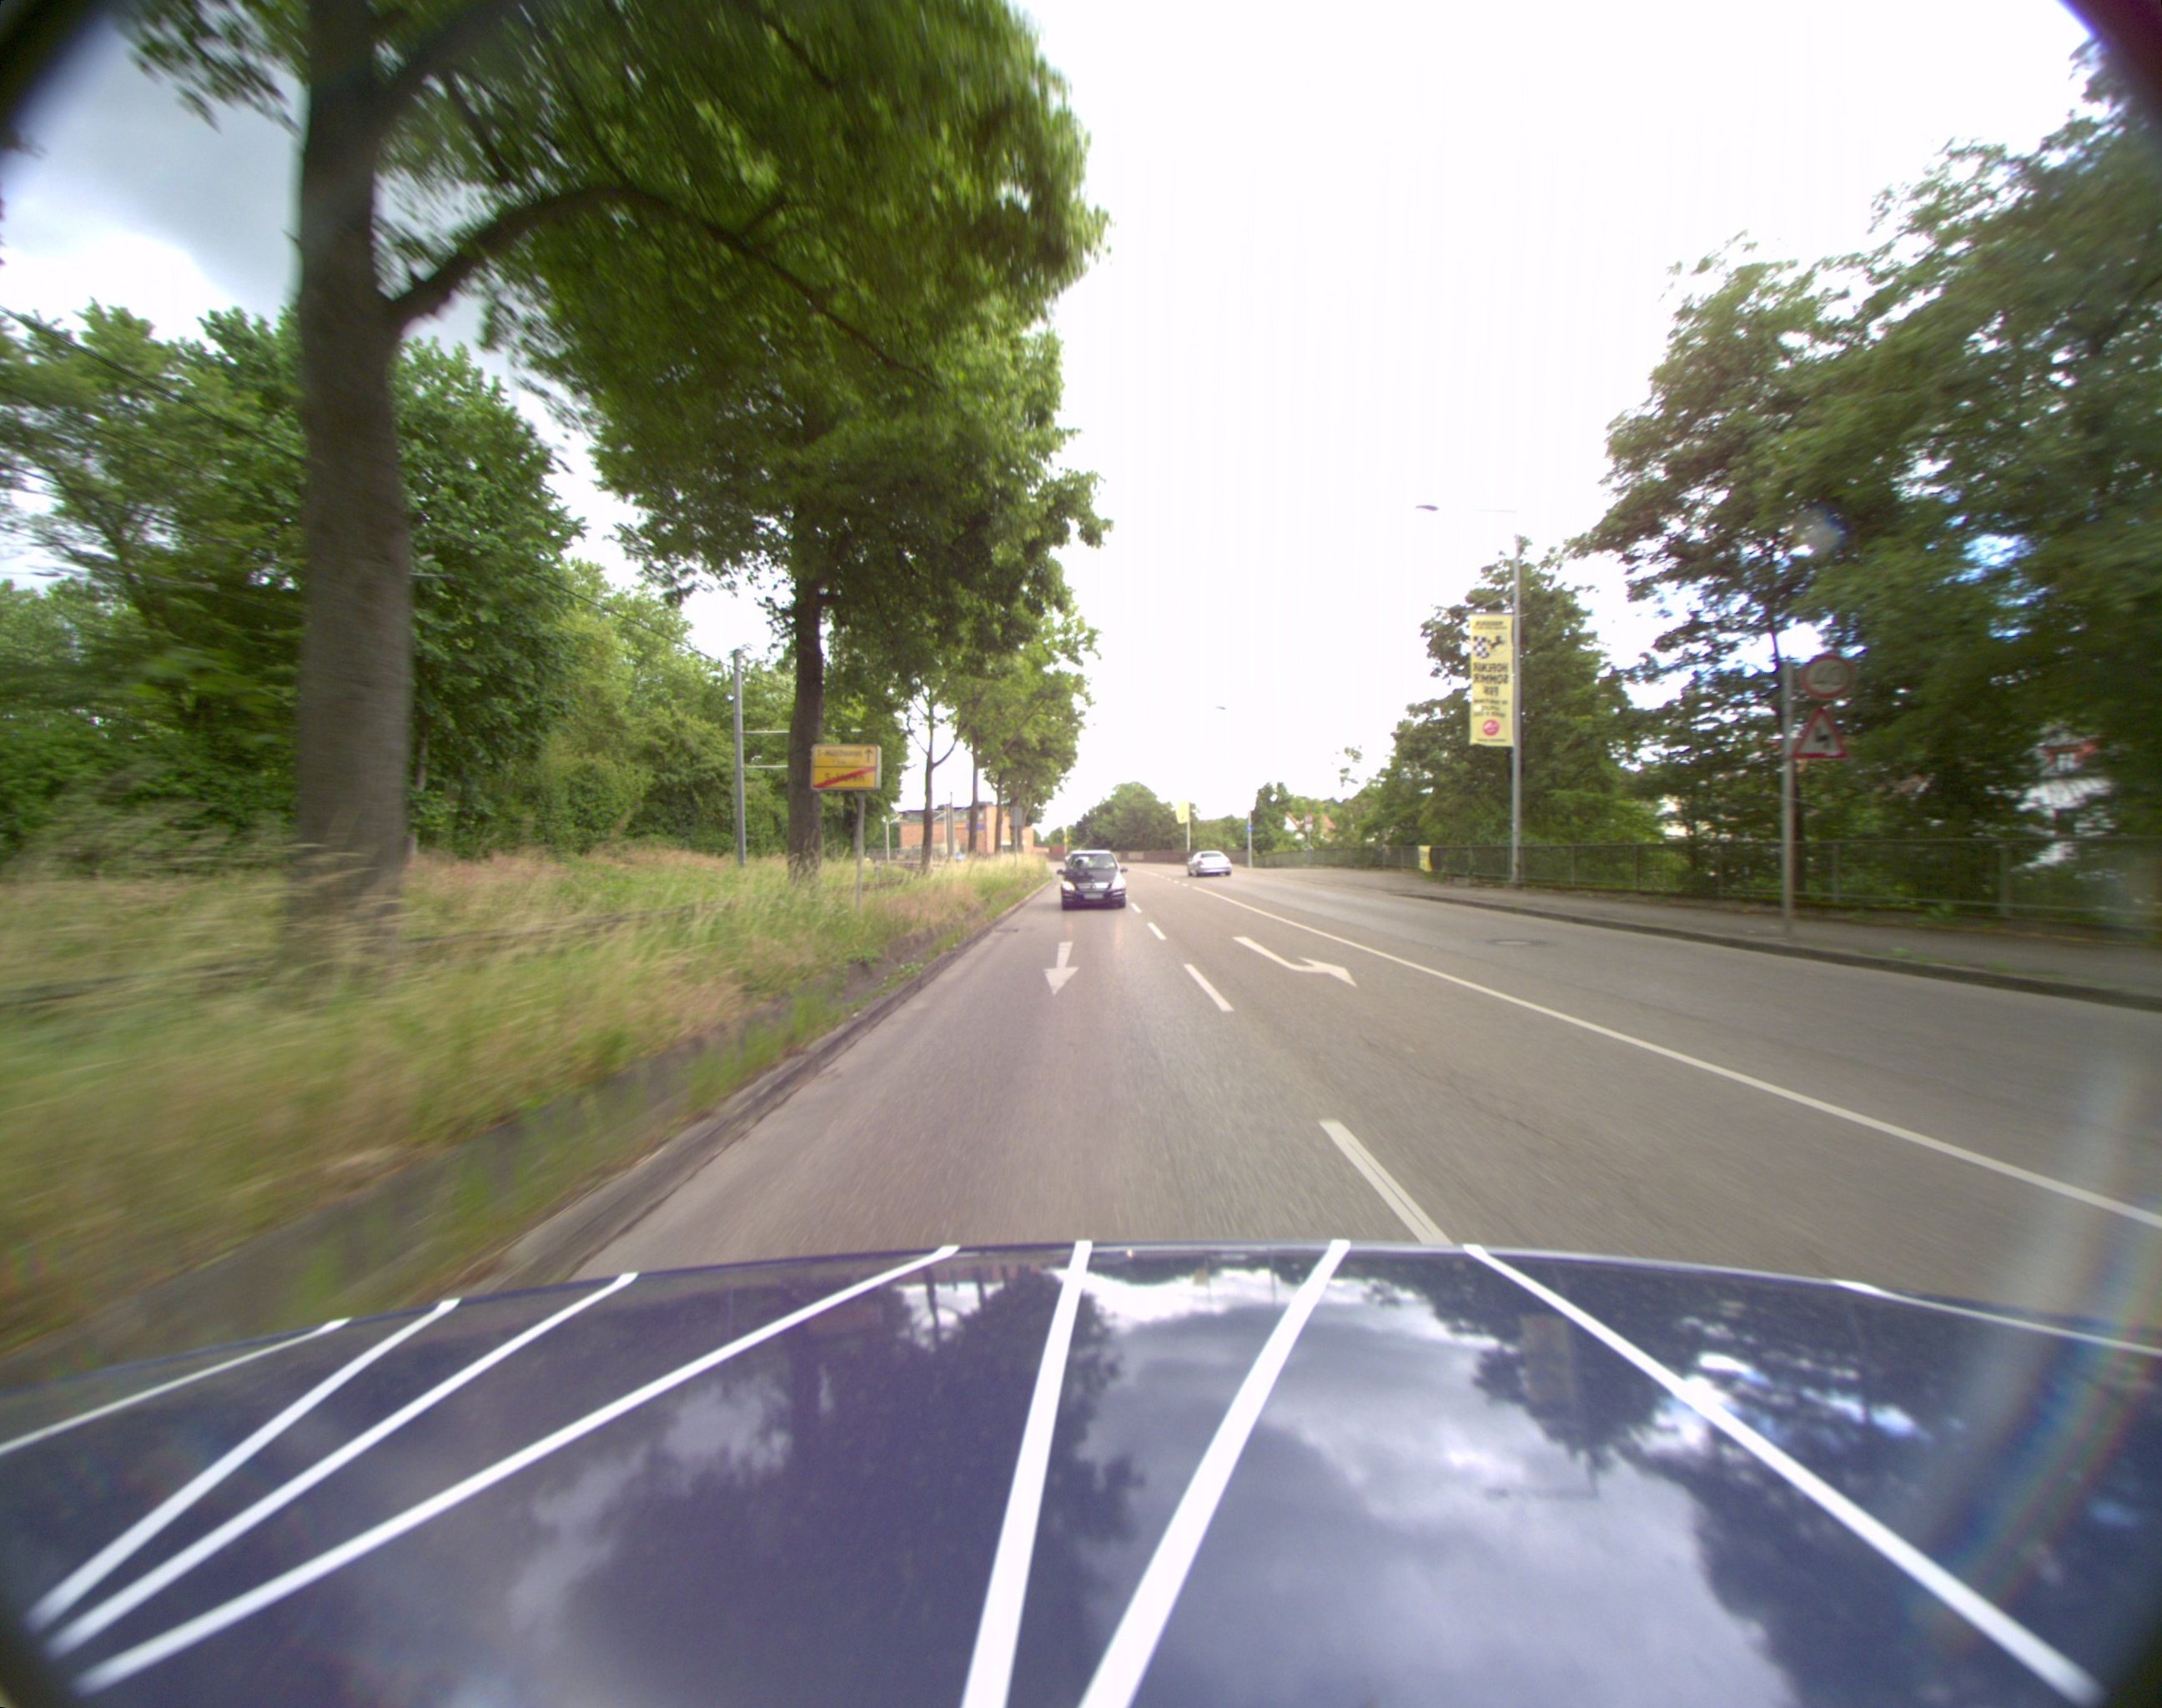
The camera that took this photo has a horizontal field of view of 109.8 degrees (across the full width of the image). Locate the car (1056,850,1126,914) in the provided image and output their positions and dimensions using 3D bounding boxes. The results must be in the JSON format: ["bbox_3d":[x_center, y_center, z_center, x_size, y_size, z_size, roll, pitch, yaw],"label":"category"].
[{"bbox_3d":[0.198,0.734,22.029,1.751,1.556,4.073,-3,1,-2],"label":"car"}]

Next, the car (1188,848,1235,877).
[{"bbox_3d":[6.775,0.400,39.758,1.763,1.329,3.695,-3,1,0],"label":"car"}]

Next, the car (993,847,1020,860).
[{"bbox_3d":[-9.743,-0.023,99.522,1.728,1.598,4.004,-3,1,-34],"label":"car"}]

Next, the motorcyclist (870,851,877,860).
[{"bbox_3d":[-33.635,0.281,123.270,0.838,1.348,0.622,-1,1,37],"label":"motorcyclist"}]

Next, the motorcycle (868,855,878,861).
[{"bbox_3d":[-33.824,0.661,123.456,1.715,1.055,0.686,-2,1,37],"label":"motorcycle"}]

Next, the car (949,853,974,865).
[{"bbox_3d":[-17.057,0.762,108.390,1.588,1.477,3.686,-4,1,-43],"label":"car"}]

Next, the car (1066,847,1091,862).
[{"bbox_3d":[-0.306,0.094,81.736,1.587,1.457,3.690,3,-1,-17],"label":"car"}]
